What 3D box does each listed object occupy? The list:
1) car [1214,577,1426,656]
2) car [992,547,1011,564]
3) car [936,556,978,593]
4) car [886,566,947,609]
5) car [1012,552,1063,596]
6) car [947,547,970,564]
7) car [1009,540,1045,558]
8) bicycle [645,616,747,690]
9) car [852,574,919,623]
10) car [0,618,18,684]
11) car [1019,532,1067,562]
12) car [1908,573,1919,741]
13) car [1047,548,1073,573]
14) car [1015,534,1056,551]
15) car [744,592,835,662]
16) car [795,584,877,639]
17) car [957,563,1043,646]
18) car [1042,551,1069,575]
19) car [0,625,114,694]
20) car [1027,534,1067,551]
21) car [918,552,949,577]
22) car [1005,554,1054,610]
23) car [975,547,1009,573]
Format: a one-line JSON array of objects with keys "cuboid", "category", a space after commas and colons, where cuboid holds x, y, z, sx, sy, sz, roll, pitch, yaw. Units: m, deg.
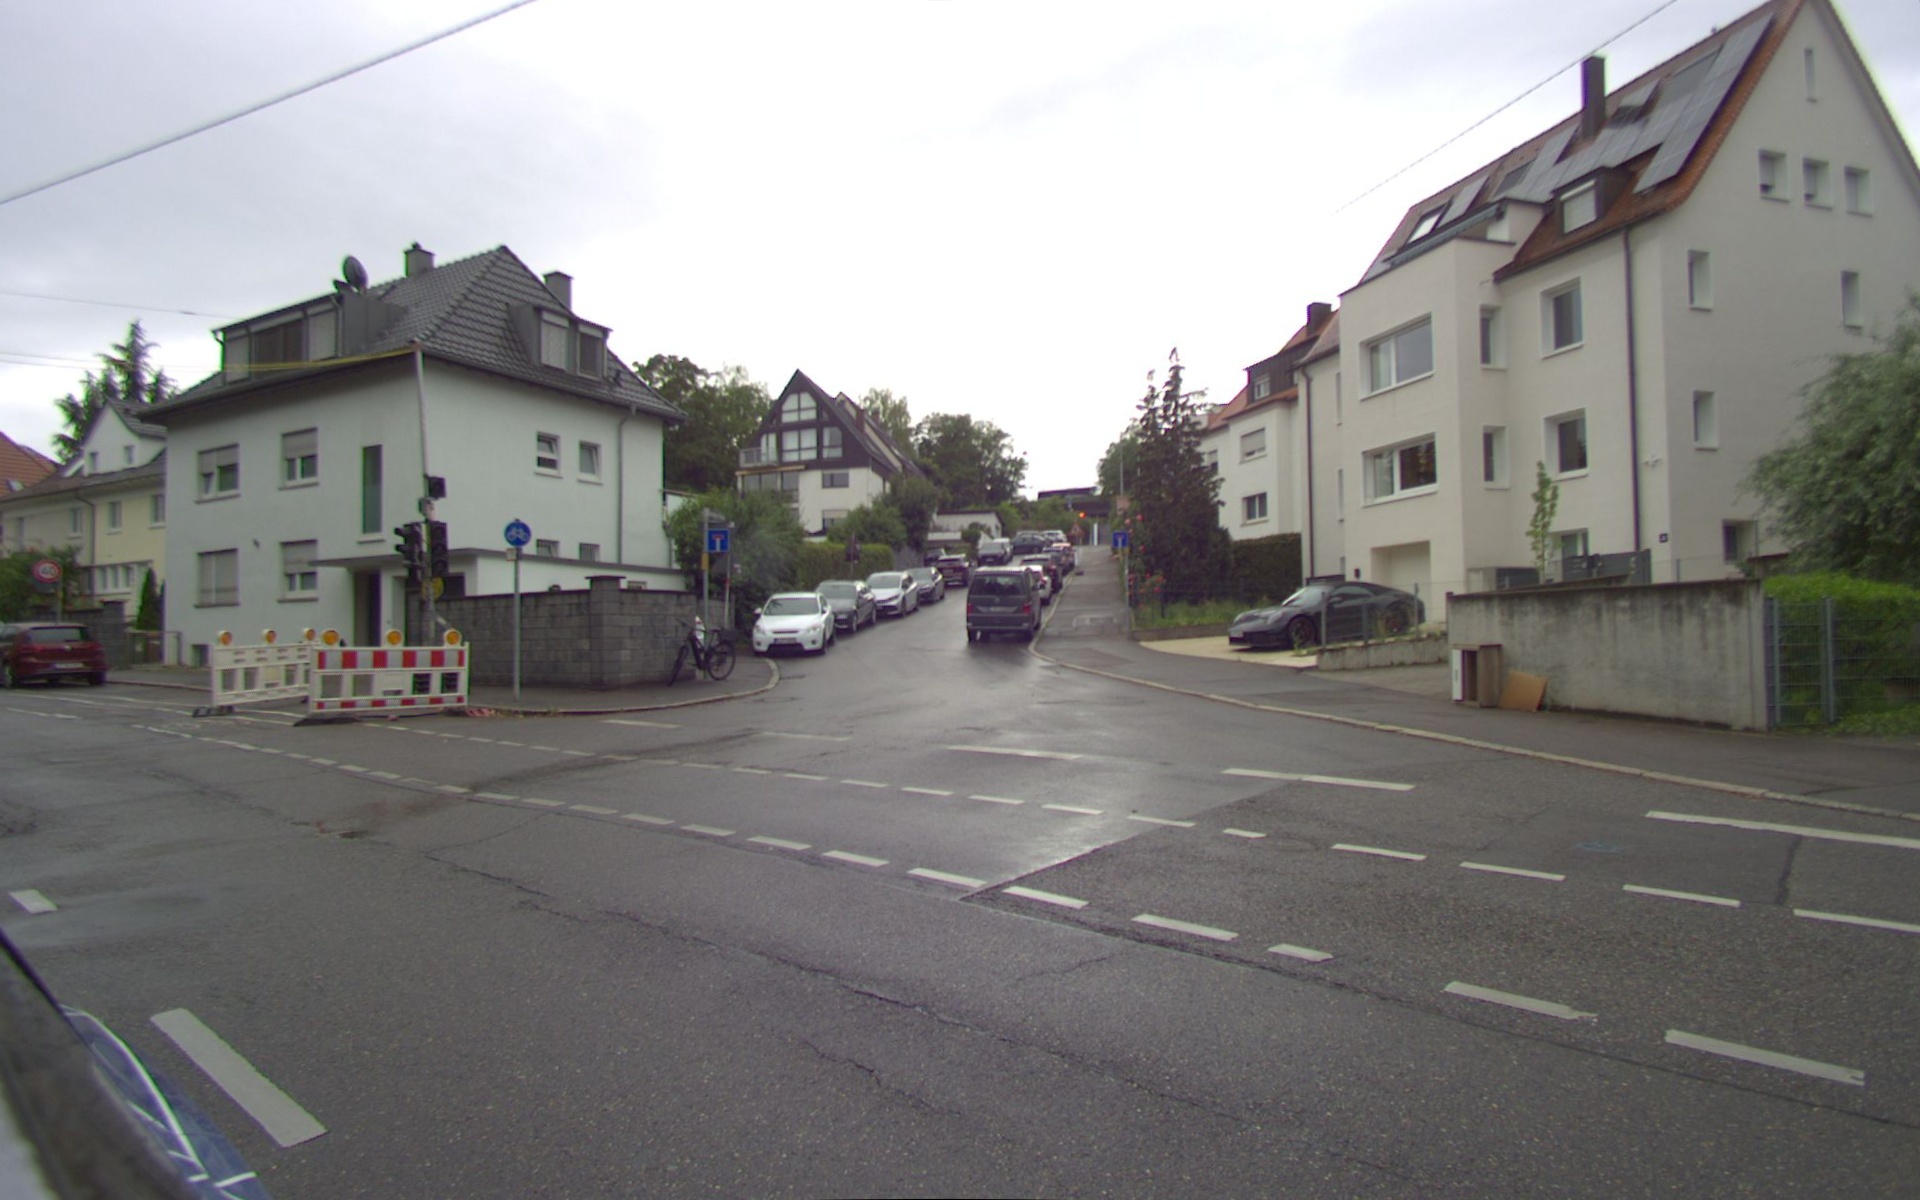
[{"cuboid": [7.710, 0.333, 21.769, 3.942, 1.290, 1.613, -5, 1, -13], "category": "car"}, {"cuboid": [3.060, -3.328, 74.708, 1.292, 1.206, 2.980, -1, 3, 5], "category": "car"}, {"cuboid": [-0.112, -1.364, 52.462, 1.623, 1.637, 3.992, -1, 5, 8], "category": "car"}, {"cuboid": [-1.804, -0.554, 42.957, 1.903, 1.448, 4.100, -1, 5, 7], "category": "car"}, {"cuboid": [3.524, -1.194, 45.373, 1.823, 1.699, 4.039, -1, 5, 11], "category": "car"}, {"cuboid": [-0.080, -3.260, 74.018, 1.559, 1.220, 3.650, -1, 3, 2], "category": "car"}, {"cuboid": [5.555, -4.200, 83.651, 2.914, 1.328, 1.282, -1, 0, 4], "category": "car"}, {"cuboid": [-4.783, 0.931, 18.454, 0.508, 1.249, 1.984, 1, 0, 32], "category": "bicycle"}, {"cuboid": [-2.655, -0.086, 37.084, 1.738, 1.481, 3.940, -1, 4, 6], "category": "car"}, {"cuboid": [-26.150, 1.316, 25.771, 4.131, 1.653, 1.782, -1, -1, 25], "category": "car"}, {"cuboid": [7.204, -4.564, 87.640, 3.954, 2.028, 1.995, -5, -1, 8], "category": "car"}, {"cuboid": [10.608, 0.422, 8.546, 3.934, 1.497, 1.780, -2, -1, -12], "category": "car"}, {"cuboid": [6.240, -2.449, 62.845, 1.488, 1.373, 3.465, -1, 0, 8], "category": "car"}, {"cuboid": [7.393, -5.591, 98.786, 3.922, 1.528, 1.748, -1, 0, 6], "category": "car"}, {"cuboid": [-4.308, 0.624, 26.135, 1.827, 1.473, 4.124, -1, 3, -3], "category": "car"}, {"cuboid": [-3.824, 0.318, 31.815, 1.702, 1.397, 3.900, -1, 4, 6], "category": "car"}, {"cuboid": [1.245, 0.049, 29.322, 1.978, 2.028, 4.482, -1, 4, 9], "category": "car"}, {"cuboid": [5.505, -2.144, 58.109, 1.274, 1.325, 2.984, -1, 3, 10], "category": "car"}, {"cuboid": [-21.466, 1.333, 23.379, 3.833, 1.443, 1.768, -1, -1, 30], "category": "car"}, {"cuboid": [8.941, -5.902, 103.912, 3.782, 1.529, 1.664, -1, -1, 15], "category": "car"}, {"cuboid": [-1.825, -2.420, 69.790, 1.793, 1.566, 4.009, -1, 0, 3], "category": "car"}, {"cuboid": [2.822, -0.755, 40.321, 1.686, 1.843, 4.194, -1, 6, 7], "category": "car"}, {"cuboid": [2.198, -2.672, 68.883, 1.770, 1.531, 4.016, -1, 0, 9], "category": "car"}]
